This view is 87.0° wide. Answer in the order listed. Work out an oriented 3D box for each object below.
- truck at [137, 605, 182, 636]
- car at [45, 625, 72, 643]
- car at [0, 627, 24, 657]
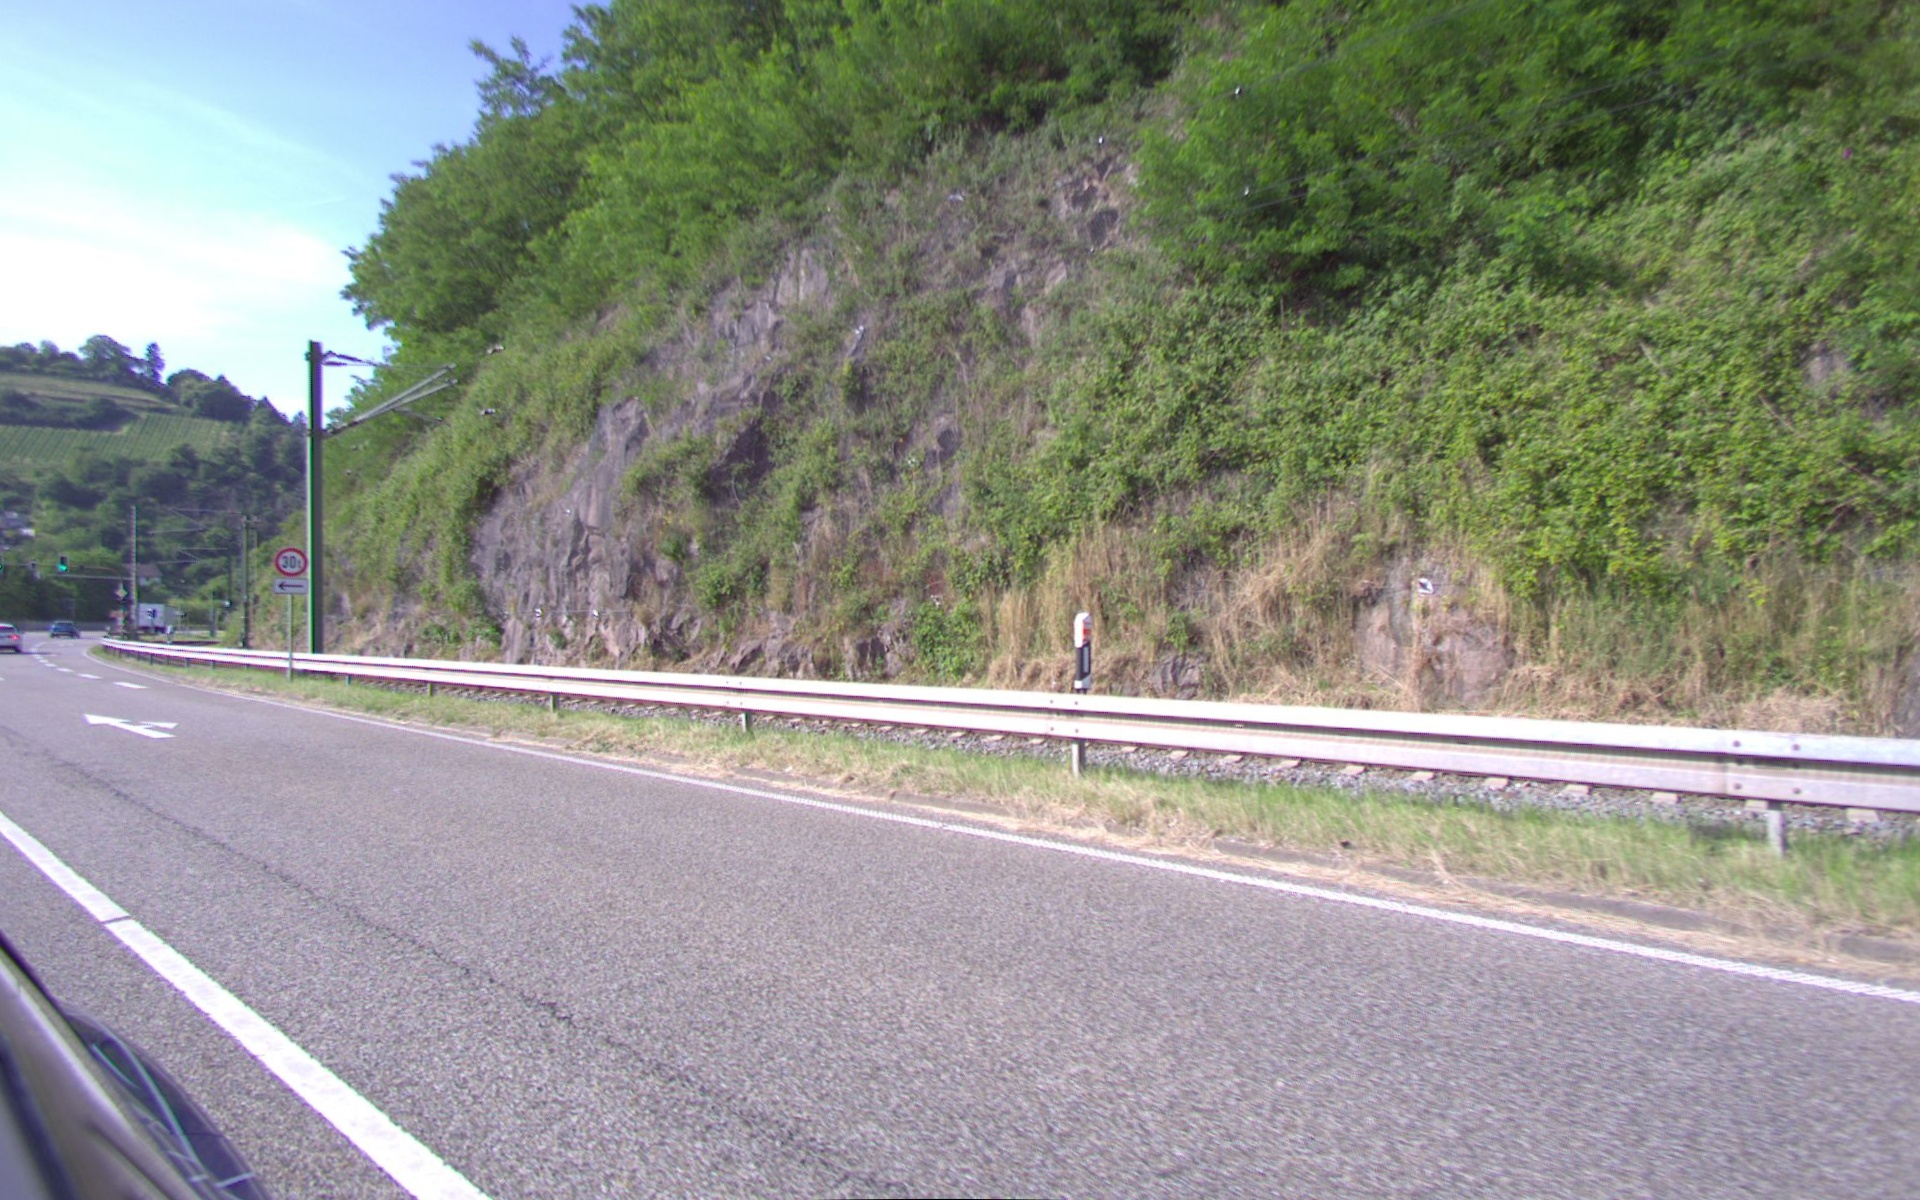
[{"bbox_3d":[-103.773,2.706,131.313,2.856,3.828,8.922,1,-2,-27],"label":"truck"},{"bbox_3d":[-83.346,3.088,93.587,1.697,1.582,4.142,0,-1,-40],"label":"car"},{"bbox_3d":[-48.359,2.101,50.631,4.688,1.450,2.040,-2,-2,45],"label":"car"}]
